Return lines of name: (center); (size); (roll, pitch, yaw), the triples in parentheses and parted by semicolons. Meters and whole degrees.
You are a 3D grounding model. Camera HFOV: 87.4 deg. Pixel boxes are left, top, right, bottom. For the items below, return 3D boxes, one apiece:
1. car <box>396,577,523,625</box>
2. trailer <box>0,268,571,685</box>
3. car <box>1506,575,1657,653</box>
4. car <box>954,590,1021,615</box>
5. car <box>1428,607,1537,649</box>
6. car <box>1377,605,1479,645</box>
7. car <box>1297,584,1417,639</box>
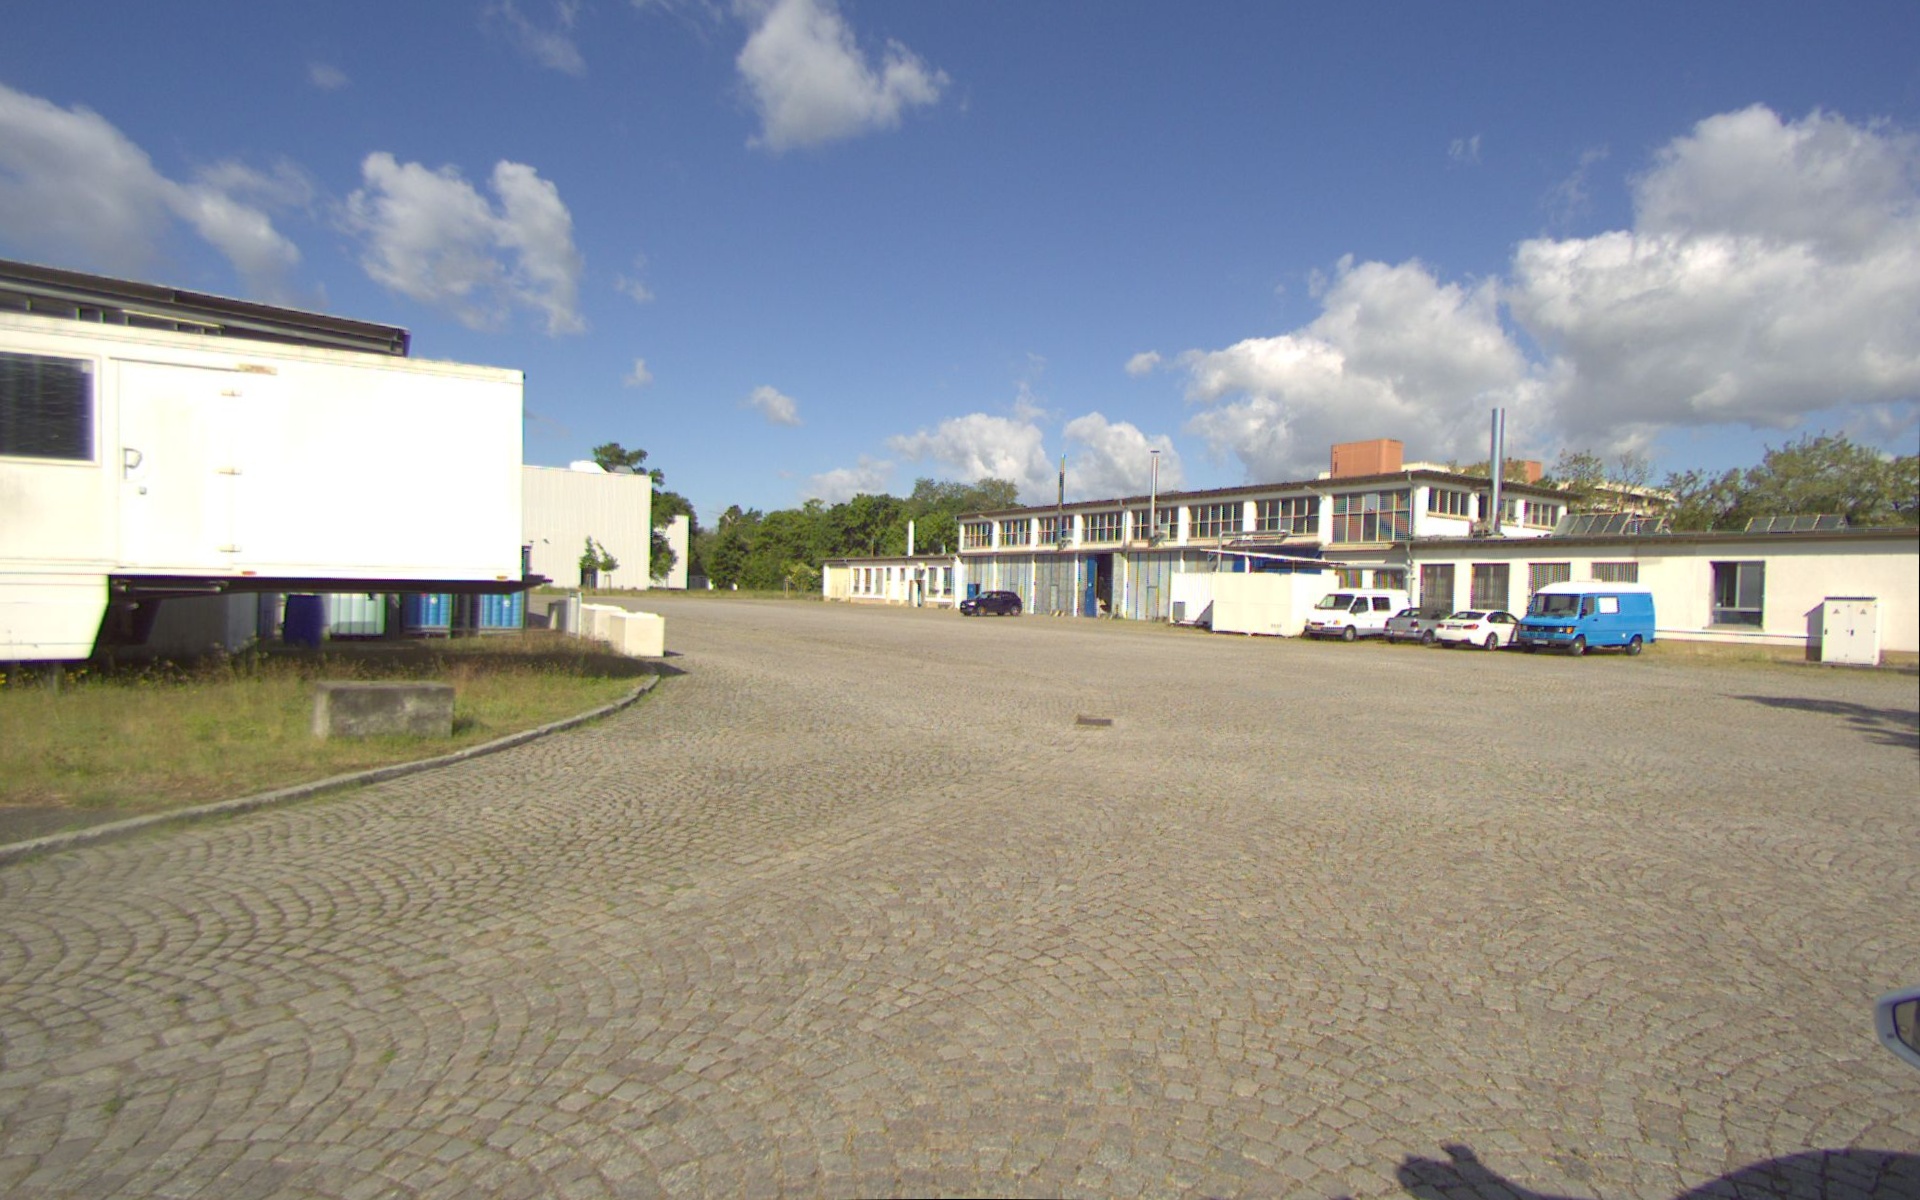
car: (-15.888, 0.040, 31.927); (3.439, 1.394, 1.595); (1, 1, -35)
trailer: (-10.062, -1.204, 10.637); (10.756, 3.963, 2.759); (2, 1, -30)
car: (21.284, 0.490, 34.383); (5.174, 2.516, 2.074); (2, 0, -29)
car: (1.786, 0.168, 64.457); (4.033, 1.489, 1.725); (1, 1, -33)
car: (18.798, 0.968, 36.117); (3.693, 1.424, 1.724); (0, 1, -29)
car: (18.191, 0.965, 39.017); (3.785, 1.417, 1.679); (2, 1, -29)
car: (16.309, 0.476, 41.255); (4.746, 2.109, 1.995); (2, 0, -29)
